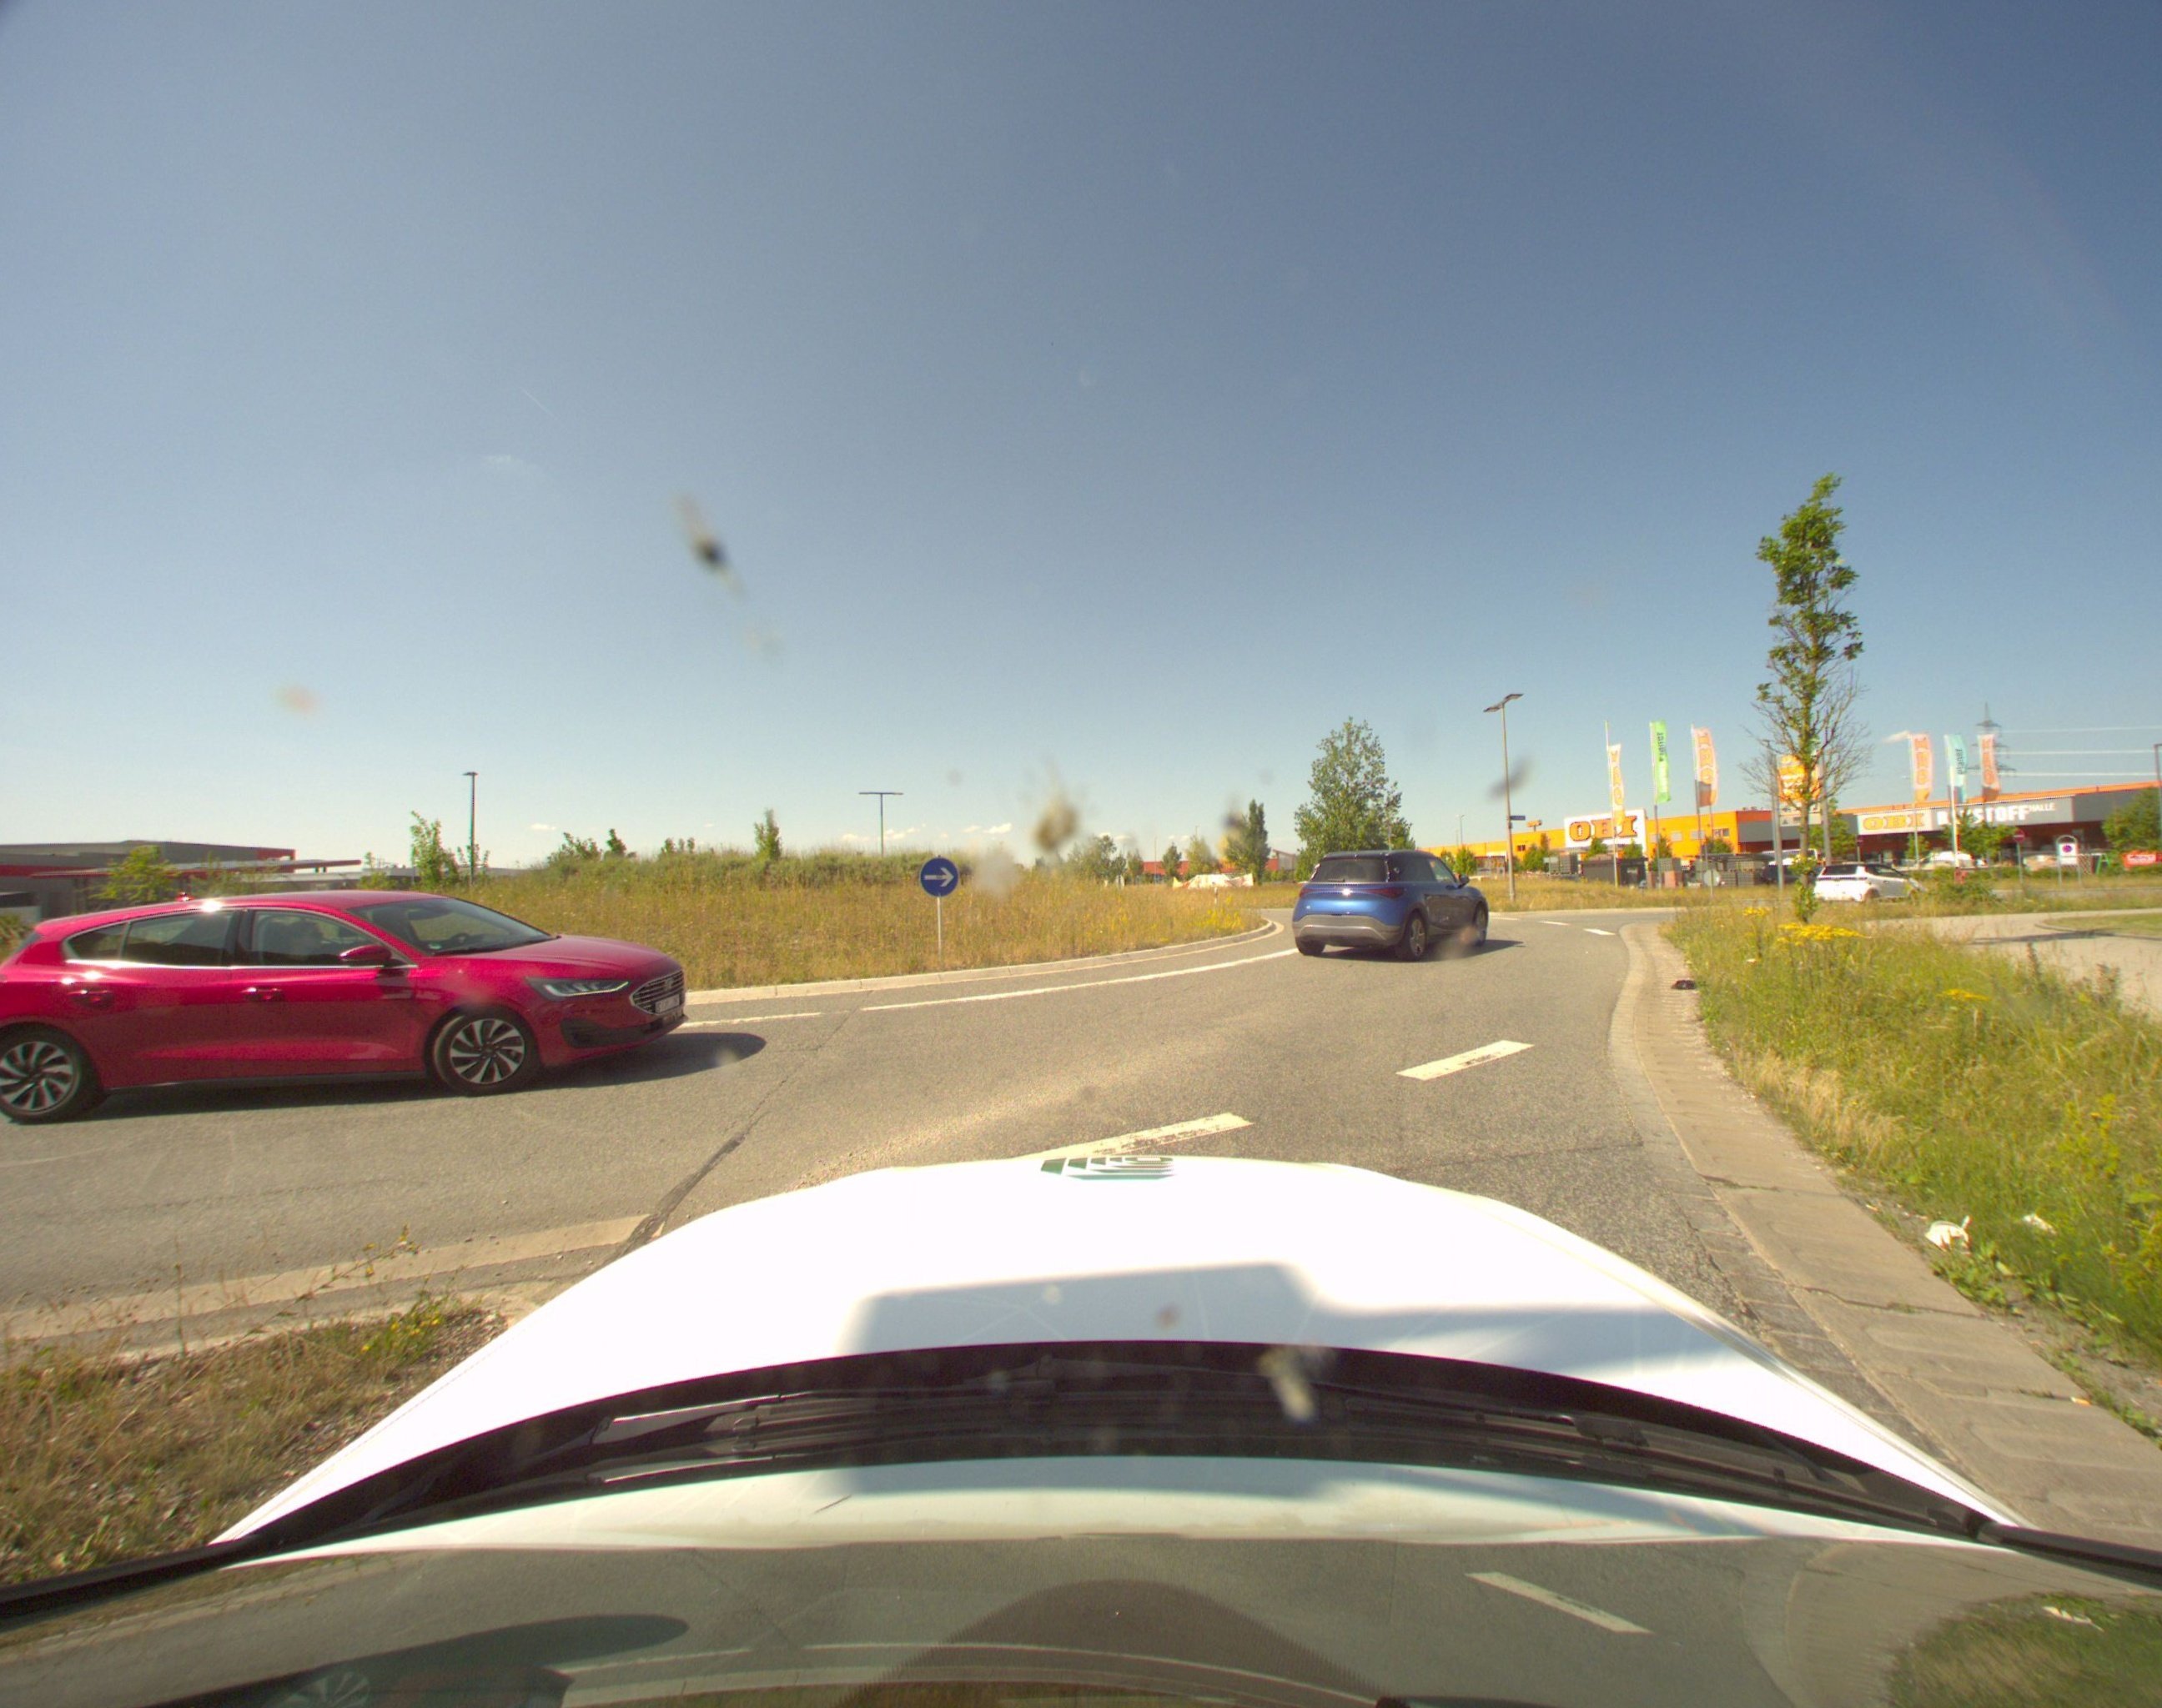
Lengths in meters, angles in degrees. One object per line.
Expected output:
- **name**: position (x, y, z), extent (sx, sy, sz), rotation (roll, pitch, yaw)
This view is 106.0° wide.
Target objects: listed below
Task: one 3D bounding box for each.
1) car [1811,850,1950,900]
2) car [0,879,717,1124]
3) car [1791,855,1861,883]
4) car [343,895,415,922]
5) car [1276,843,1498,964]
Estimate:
- **car**: position (25.687, 0.669, 26.197), extent (3.341, 1.441, 1.508), rotation (-2, -2, -11)
- **car**: position (-5.315, 0.996, 6.348), extent (4.096, 1.416, 1.806), rotation (-2, -1, -4)
- **car**: position (51.257, 1.046, 56.031), extent (3.766, 1.841, 1.692), rotation (1, -3, -13)
- **car**: position (-56.692, 4.399, 65.921), extent (1.994, 2.014, 5.117), rotation (-1, -3, -10)
- **car**: position (5.059, 0.694, 13.182), extent (1.834, 1.635, 4.104), rotation (-2, -2, 44)
